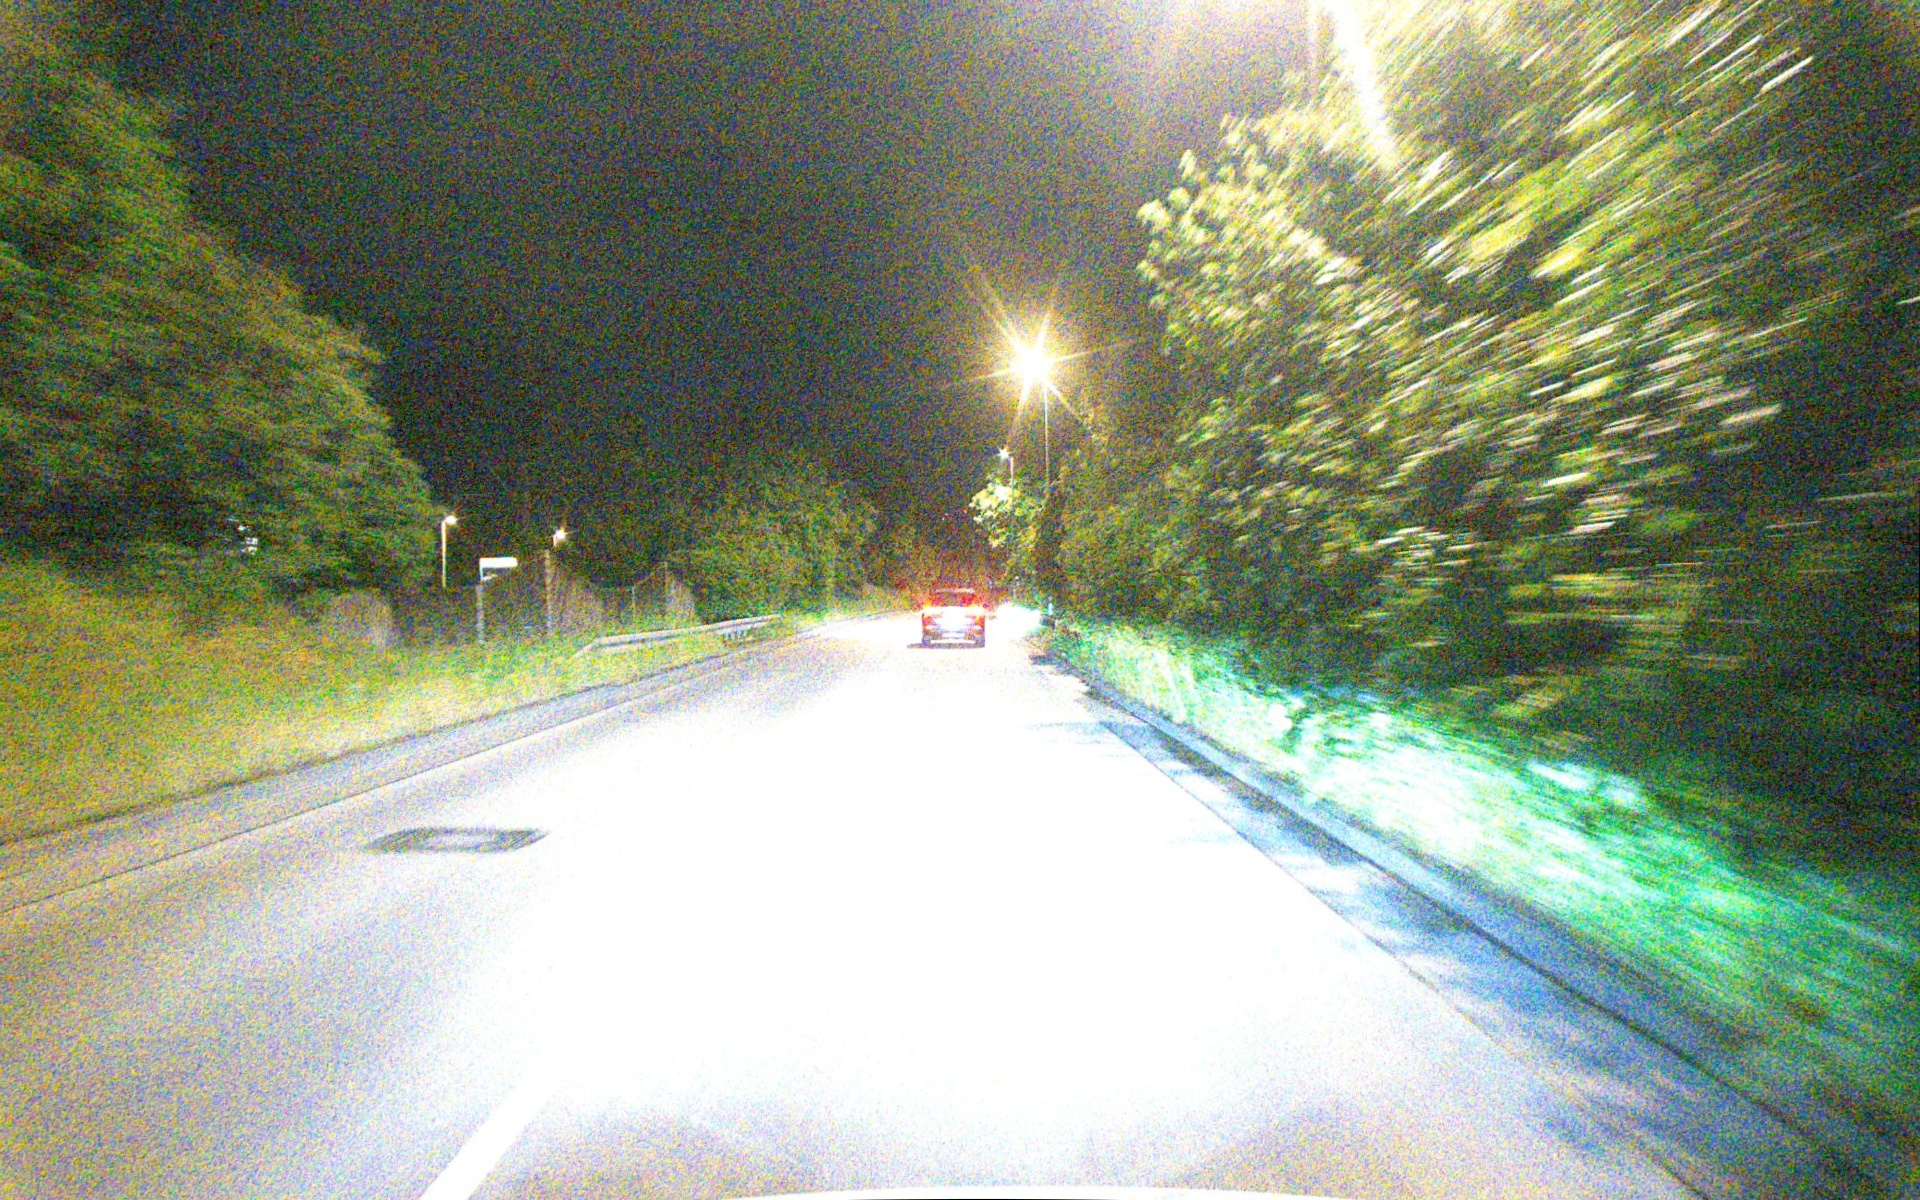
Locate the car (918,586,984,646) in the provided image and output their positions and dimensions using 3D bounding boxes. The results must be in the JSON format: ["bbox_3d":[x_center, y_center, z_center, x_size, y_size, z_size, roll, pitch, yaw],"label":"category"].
[{"bbox_3d":[-0.246,0.424,46.651,1.777,1.601,3.943,0,0,0],"label":"car"}]
